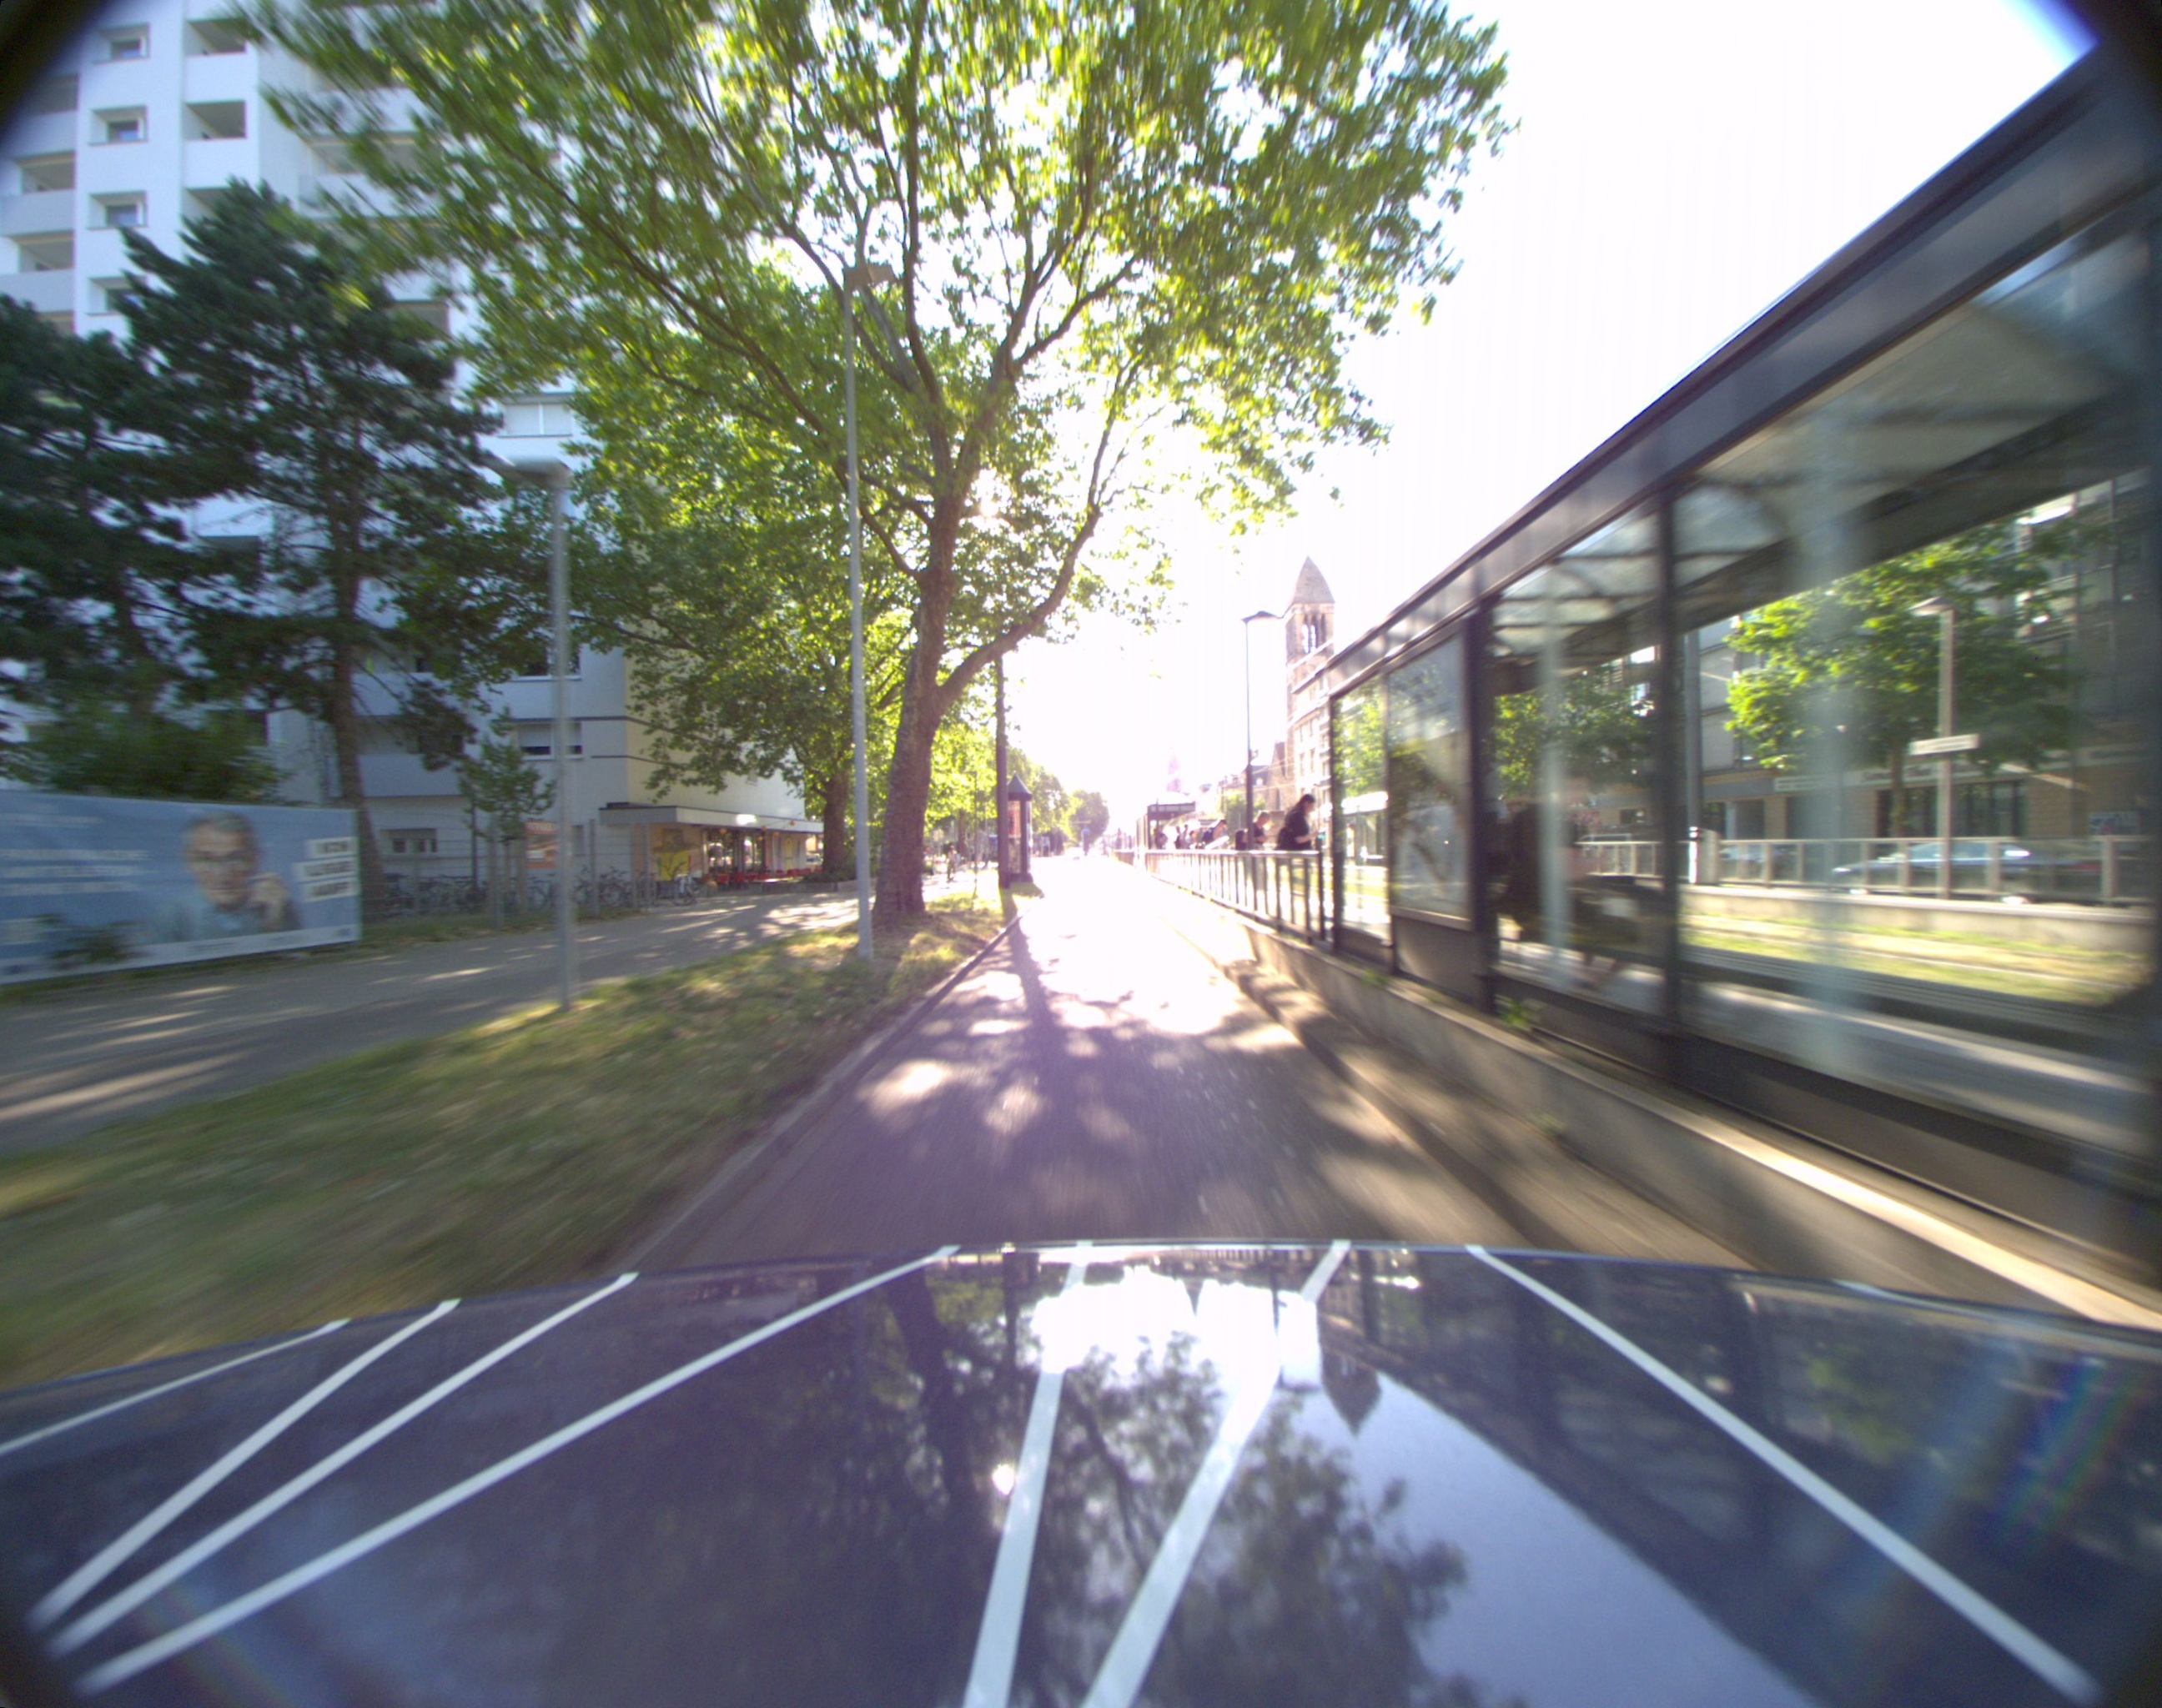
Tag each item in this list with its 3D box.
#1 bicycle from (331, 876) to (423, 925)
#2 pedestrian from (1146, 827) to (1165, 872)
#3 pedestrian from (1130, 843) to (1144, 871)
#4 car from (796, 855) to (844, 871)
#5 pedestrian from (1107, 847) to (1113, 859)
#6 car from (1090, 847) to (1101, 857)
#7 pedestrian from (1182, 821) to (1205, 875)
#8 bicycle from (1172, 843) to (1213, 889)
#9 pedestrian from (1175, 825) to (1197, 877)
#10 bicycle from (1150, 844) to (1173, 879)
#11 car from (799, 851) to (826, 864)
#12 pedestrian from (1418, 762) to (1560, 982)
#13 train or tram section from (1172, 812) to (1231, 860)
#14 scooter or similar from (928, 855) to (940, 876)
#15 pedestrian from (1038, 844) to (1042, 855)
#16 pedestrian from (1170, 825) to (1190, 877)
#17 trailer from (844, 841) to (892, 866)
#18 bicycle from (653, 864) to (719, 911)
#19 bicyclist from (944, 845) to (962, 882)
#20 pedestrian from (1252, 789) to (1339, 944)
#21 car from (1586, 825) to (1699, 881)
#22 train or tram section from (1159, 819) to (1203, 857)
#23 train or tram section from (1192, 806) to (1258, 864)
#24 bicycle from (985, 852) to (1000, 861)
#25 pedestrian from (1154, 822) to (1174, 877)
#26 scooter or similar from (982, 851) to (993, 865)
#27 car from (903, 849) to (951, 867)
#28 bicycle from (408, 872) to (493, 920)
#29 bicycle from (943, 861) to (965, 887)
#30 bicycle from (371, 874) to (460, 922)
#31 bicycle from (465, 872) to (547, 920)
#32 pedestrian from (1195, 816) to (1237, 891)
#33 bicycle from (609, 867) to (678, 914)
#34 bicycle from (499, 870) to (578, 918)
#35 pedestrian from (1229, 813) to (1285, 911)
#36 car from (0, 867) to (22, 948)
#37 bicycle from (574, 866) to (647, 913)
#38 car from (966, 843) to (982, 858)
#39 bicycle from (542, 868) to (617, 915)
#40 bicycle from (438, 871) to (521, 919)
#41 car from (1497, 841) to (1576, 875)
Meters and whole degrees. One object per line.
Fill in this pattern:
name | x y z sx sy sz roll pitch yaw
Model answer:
bicycle | -19.597 1.270 21.215 0.791 1.171 1.820 -3 1 0
pedestrian | 3.212 -0.189 32.687 0.670 1.891 0.825 -3 1 8
pedestrian | 3.226 0.176 43.882 0.631 1.600 0.982 -3 1 -1
car | -26.194 0.873 76.338 4.442 1.353 1.932 -4 1 -21
pedestrian | 4.336 -0.161 112.758 0.679 1.612 0.925 -3 1 -1
car | 2.347 -0.332 122.306 1.636 1.491 3.999 -2 1 0
pedestrian | 3.691 -0.195 24.934 0.507 1.698 0.729 -3 1 -2
bicycle | 2.932 0.293 20.172 0.739 1.127 2.030 -3 1 0
pedestrian | 3.537 -0.108 25.628 0.550 1.698 0.599 -3 1 -3
bicycle | 2.761 0.229 26.148 0.514 1.127 2.103 -3 1 0
car | -47.148 0.610 133.432 3.997 1.905 2.047 -3 1 1
pedestrian | 3.441 0.124 6.410 0.912 1.712 0.630 -4 1 -33
train or tram section | 10.160 -1.467 65.823 2.877 3.664 14.558 -1 1 1
scooter or similar | -8.981 0.704 46.394 0.562 1.250 1.289 0 1 -3
pedestrian | -7.392 -0.806 137.432 0.631 1.833 0.540 -3 1 -1
pedestrian | 3.549 -0.112 27.252 0.600 1.790 0.824 -3 1 6
trailer | -21.870 -0.061 78.006 4.520 2.359 1.911 -2 0 -21
bicycle | -10.869 0.900 20.999 0.791 1.171 1.820 -3 1 0
bicyclist | -5.400 0.403 32.130 0.604 1.542 0.860 -1 1 0
pedestrian | 2.551 0.144 9.093 0.766 1.748 0.695 -3 1 0
car | 23.757 -0.055 32.346 1.945 2.154 3.784 -3 1 0
train or tram section | 10.366 -1.648 80.377 2.877 3.654 14.558 -1 1 1
train or tram section | 9.986 -1.306 53.683 2.877 3.664 9.683 -1 1 1
bicycle | -11.527 0.315 99.060 1.827 1.047 0.534 -3 1 -26
pedestrian | 3.048 -0.167 27.845 0.600 1.985 0.824 -3 1 6
scooter or similar | -8.445 0.344 68.676 0.561 1.250 1.290 0 1 9
car | -16.238 0.378 80.217 4.584 1.630 1.932 -4 1 -21
bicycle | -17.563 1.155 21.228 0.791 1.171 1.820 -3 1 0
bicycle | -5.393 0.821 32.310 0.604 1.020 1.766 -1 1 0
bicycle | -18.564 1.211 21.253 0.791 1.171 1.820 -3 1 0
bicycle | -15.886 1.133 21.042 0.791 1.171 1.820 -3 1 0
pedestrian | 3.284 -0.014 18.540 0.787 1.760 0.773 -3 1 0
bicycle | -12.139 0.993 21.170 0.791 1.171 1.820 -3 1 0
bicycle | -14.936 1.080 20.990 0.791 1.171 1.820 -3 1 0
pedestrian | 2.923 0.126 12.690 0.680 1.553 0.851 -3 1 0
car | -20.217 1.034 11.761 1.999 1.445 3.998 -3 1 -3
bicycle | -13.095 0.973 21.217 0.791 1.171 1.820 -3 1 0
car | -20.409 -0.659 145.179 1.998 2.726 4.714 -3 1 1
bicycle | -13.979 1.023 21.242 0.791 1.171 1.820 -3 1 0
bicycle | -16.720 1.110 21.193 0.791 1.171 1.820 -3 1 0
car | 23.880 0.164 40.003 1.811 1.626 3.784 -3 1 0
